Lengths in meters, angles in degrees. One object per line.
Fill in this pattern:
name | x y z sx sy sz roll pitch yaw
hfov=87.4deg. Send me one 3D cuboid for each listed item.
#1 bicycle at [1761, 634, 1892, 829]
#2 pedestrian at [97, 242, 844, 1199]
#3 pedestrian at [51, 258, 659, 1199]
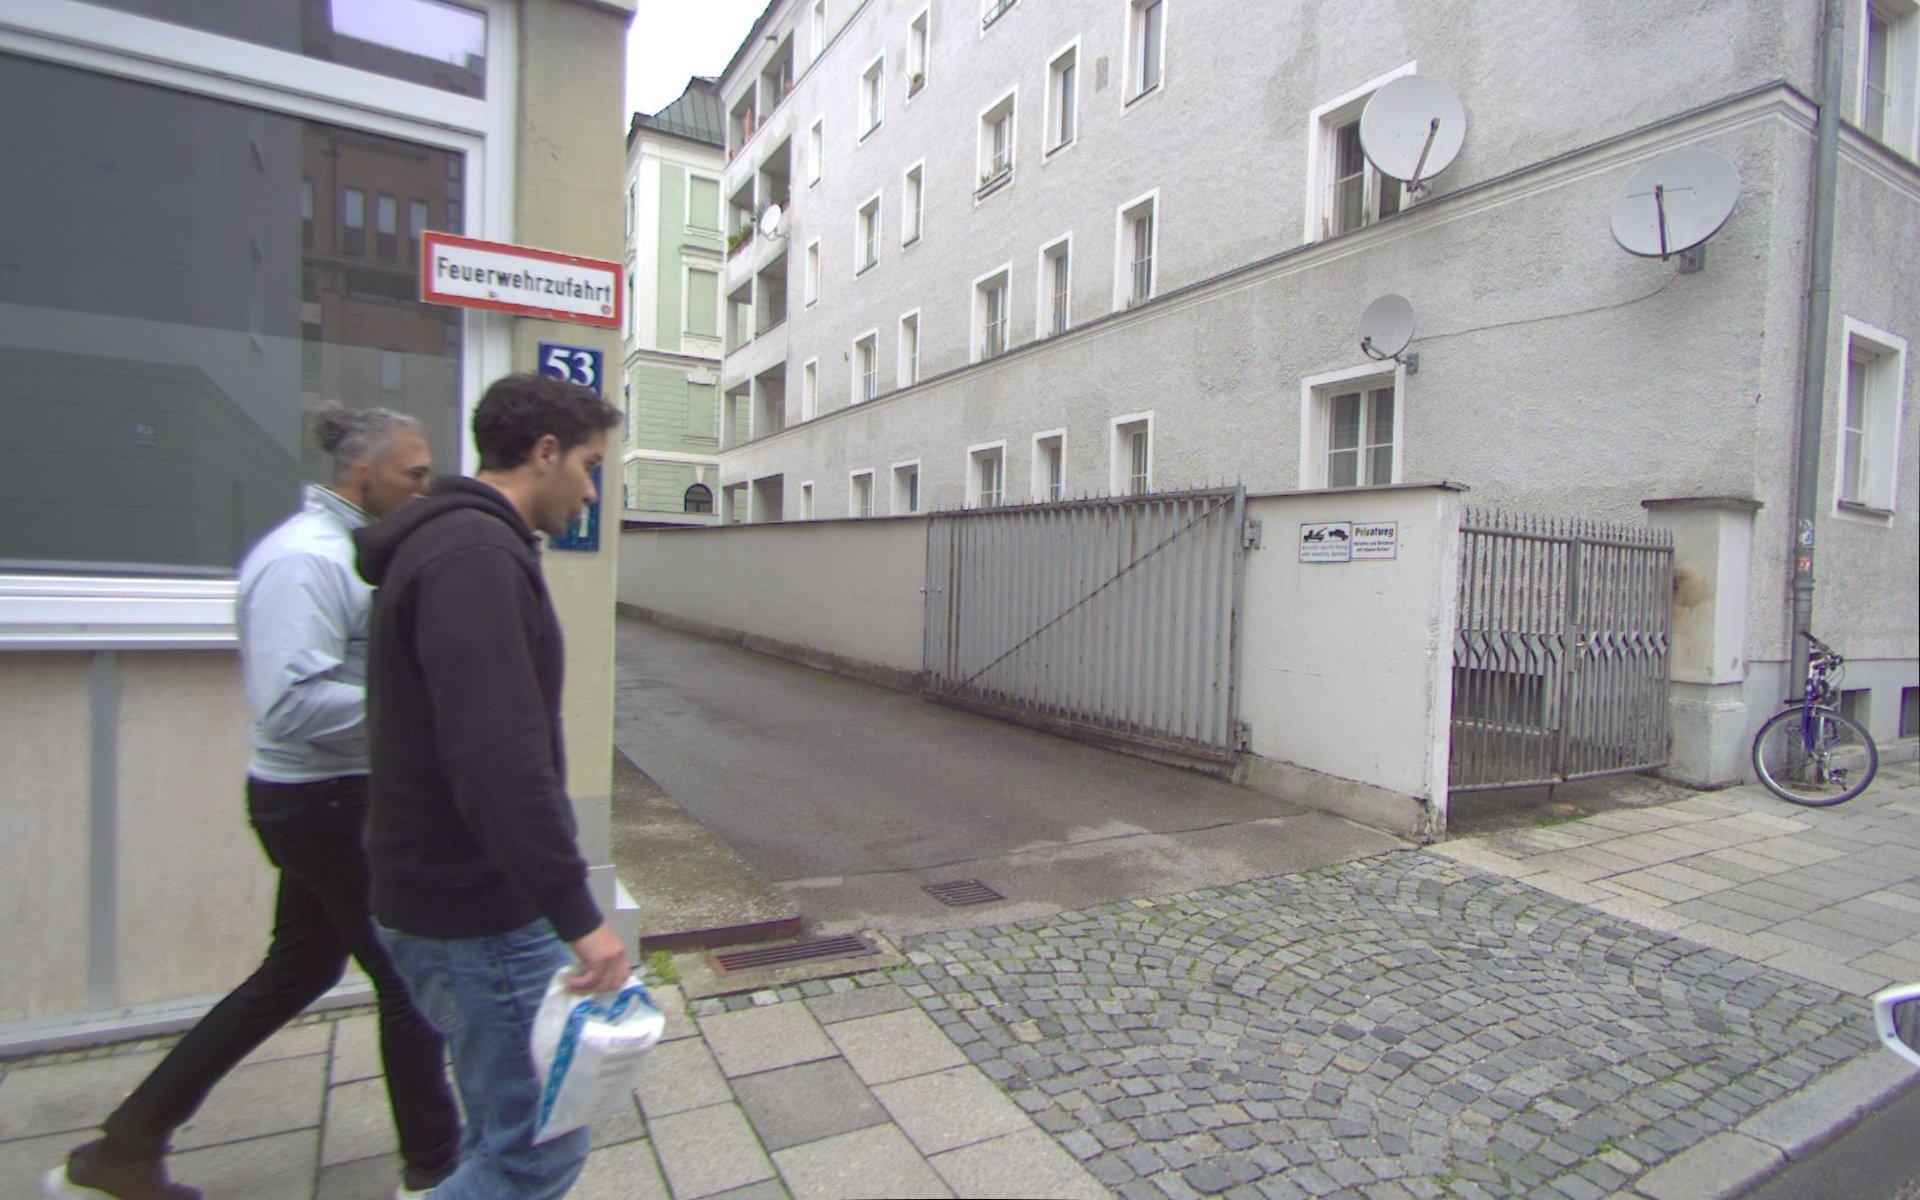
bicycle | 6.307 0.879 7.345 0.634 1.234 1.657 2 0 40
pedestrian | -0.749 0.511 1.606 0.828 1.789 0.715 2 3 -30
pedestrian | -1.218 0.371 2.132 0.906 1.821 0.715 2 3 -30
